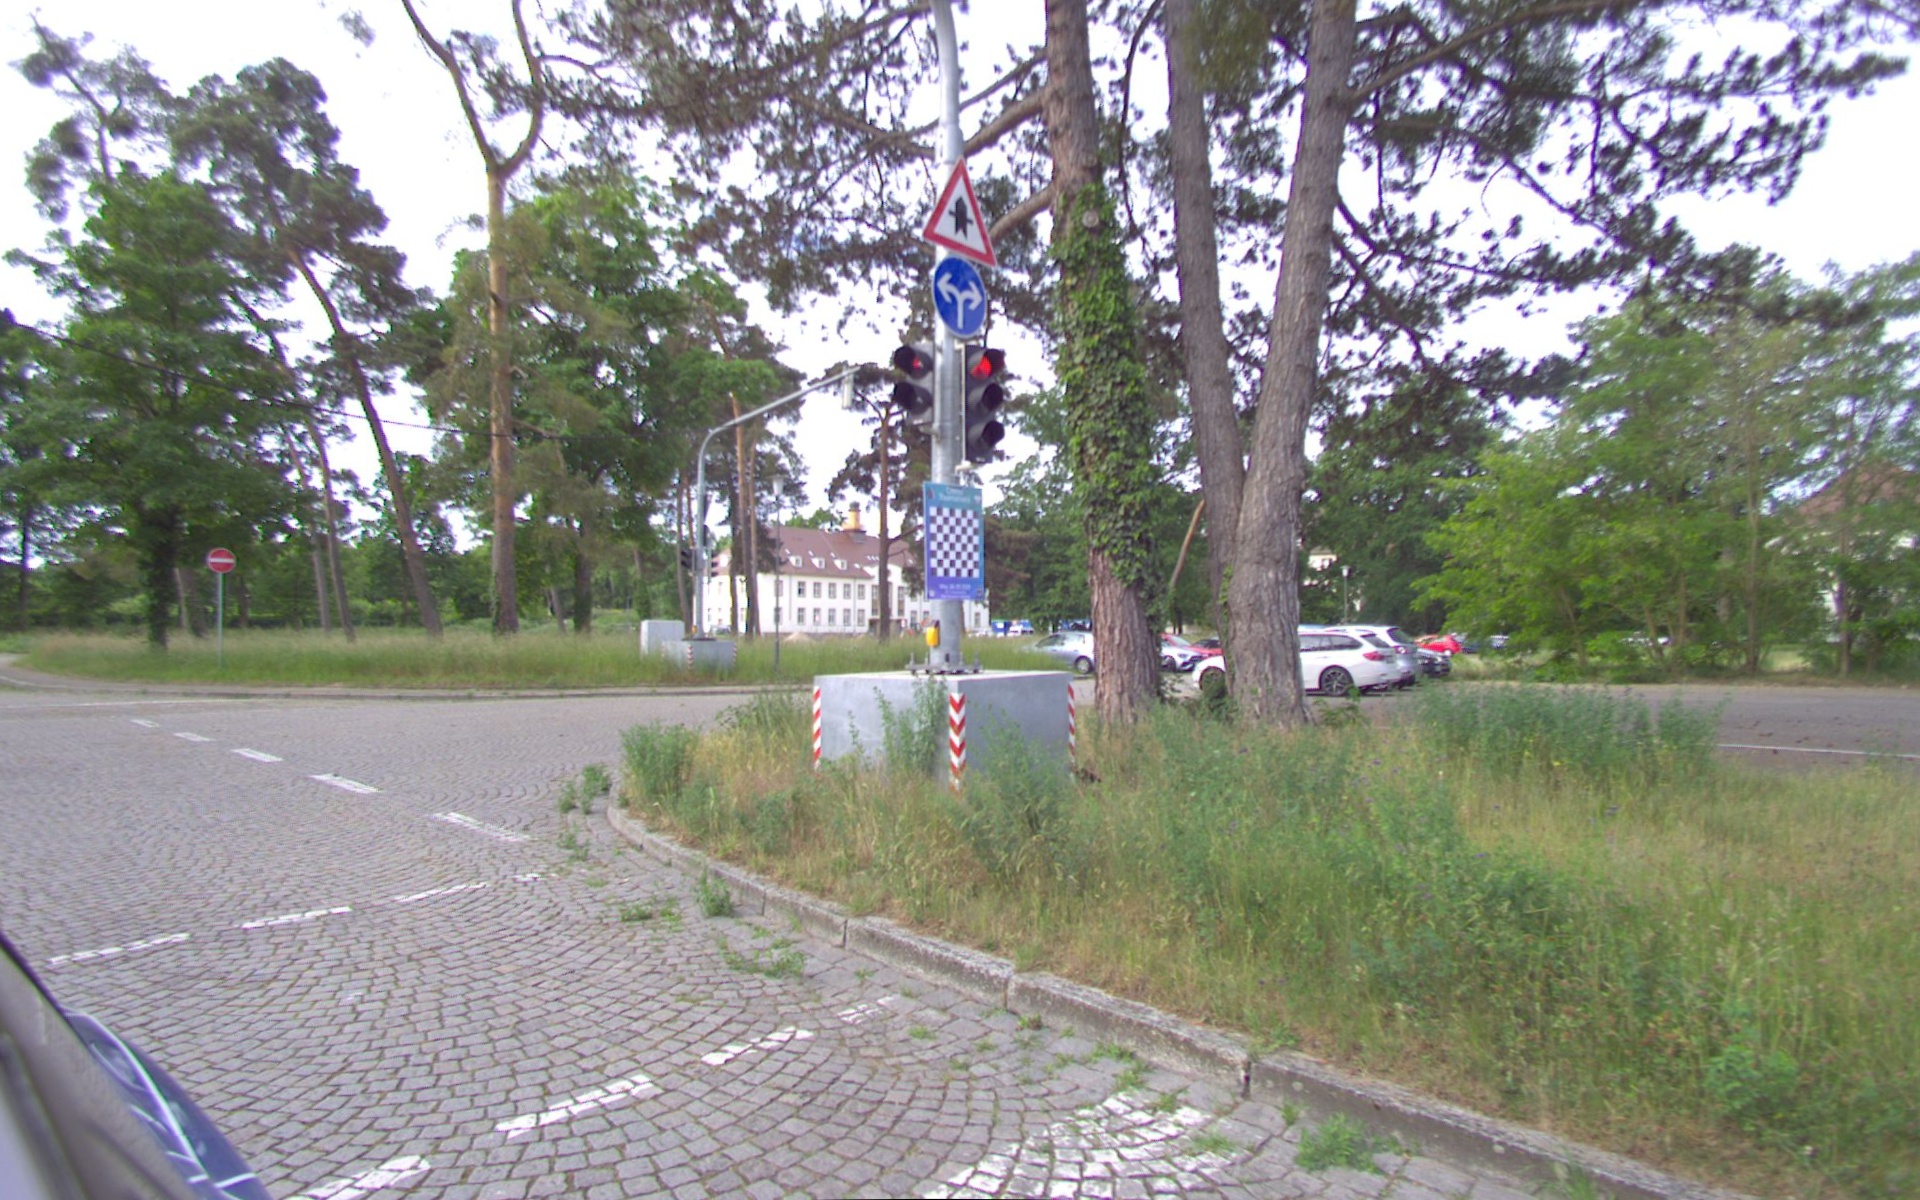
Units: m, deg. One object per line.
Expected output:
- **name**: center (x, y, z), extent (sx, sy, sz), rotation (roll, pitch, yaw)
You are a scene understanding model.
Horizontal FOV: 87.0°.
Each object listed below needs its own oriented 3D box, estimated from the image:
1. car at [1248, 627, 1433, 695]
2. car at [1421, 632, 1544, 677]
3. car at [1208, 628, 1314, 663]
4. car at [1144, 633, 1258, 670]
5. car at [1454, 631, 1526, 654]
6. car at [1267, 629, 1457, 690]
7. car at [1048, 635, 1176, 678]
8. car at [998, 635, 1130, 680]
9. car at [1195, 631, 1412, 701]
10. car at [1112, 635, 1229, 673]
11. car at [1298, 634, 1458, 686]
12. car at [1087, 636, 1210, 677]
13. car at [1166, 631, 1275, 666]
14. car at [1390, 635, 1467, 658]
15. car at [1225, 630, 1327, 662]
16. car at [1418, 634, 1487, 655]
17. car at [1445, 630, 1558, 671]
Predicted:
- **car**: center (9.282, 1.489, 24.816), extent (3.894, 1.532, 1.653), rotation (-4, -4, 39)
- **car**: center (18.382, 1.894, 35.671), extent (3.588, 1.486, 1.658), rotation (-1, -2, 39)
- **car**: center (13.969, 2.094, 47.090), extent (4.394, 1.486, 1.808), rotation (-1, 0, 37)
- **car**: center (10.246, 2.147, 43.185), extent (4.397, 1.486, 1.807), rotation (-1, -2, 39)
- **car**: center (41.276, 3.288, 78.900), extent (1.802, 1.736, 4.589), rotation (2, -2, -41)
- **car**: center (10.678, 1.534, 27.071), extent (4.397, 1.486, 1.807), rotation (-1, -2, 39)
- **car**: center (5.597, 2.054, 37.463), extent (4.397, 1.486, 1.807), rotation (-1, -2, 39)
- **car**: center (3.619, 1.986, 35.801), extent (4.397, 1.486, 1.807), rotation (-1, -2, 39)
- **car**: center (7.703, 1.422, 22.909), extent (4.315, 1.436, 1.807), rotation (-1, -2, 39)
- **car**: center (8.608, 2.174, 41.584), extent (4.397, 1.486, 1.807), rotation (-1, -2, 39)
- **car**: center (12.114, 1.703, 29.478), extent (4.033, 1.410, 1.616), rotation (-1, -2, 39)
- **car**: center (7.324, 2.183, 39.538), extent (4.397, 1.486, 1.807), rotation (-1, -2, 39)
- **car**: center (11.635, 2.126, 45.323), extent (4.397, 1.486, 1.807), rotation (-1, -2, 39)
- **car**: center (31.388, 3.078, 67.899), extent (4.400, 1.486, 1.805), rotation (-1, -2, 41)
- **car**: center (15.465, 2.235, 49.623), extent (4.394, 1.486, 1.808), rotation (-1, -2, 37)
- **car**: center (37.075, 3.332, 76.214), extent (4.400, 1.486, 1.805), rotation (-1, -2, 41)
- **car**: center (20.742, 1.912, 38.803), extent (3.588, 1.486, 1.658), rotation (-1, -2, 39)
